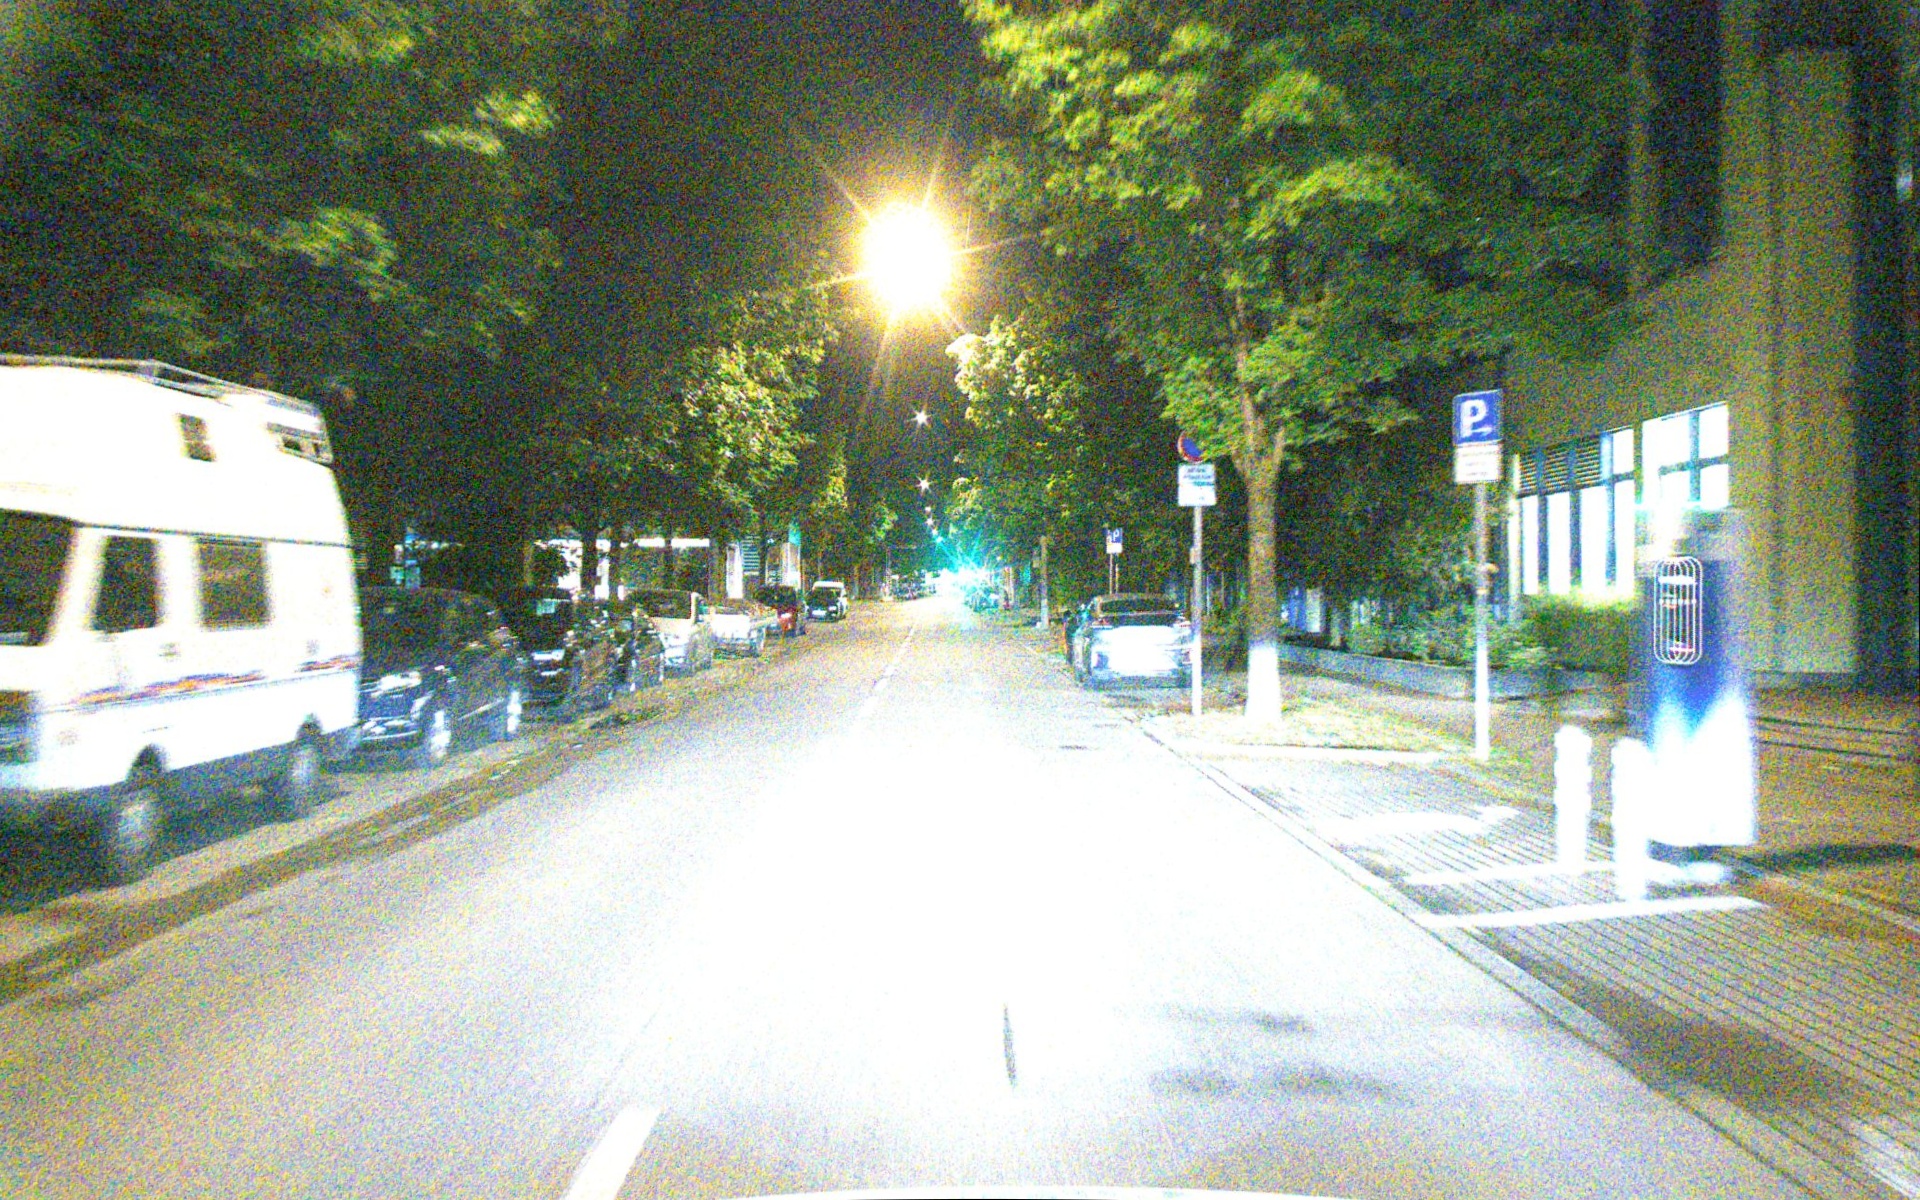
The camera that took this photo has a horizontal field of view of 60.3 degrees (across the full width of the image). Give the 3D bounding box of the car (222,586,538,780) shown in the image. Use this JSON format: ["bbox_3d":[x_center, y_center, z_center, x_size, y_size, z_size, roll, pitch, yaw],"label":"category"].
[{"bbox_3d":[-5.480,0.692,16.201,1.706,1.634,4.115,1,1,-1],"label":"car"}]

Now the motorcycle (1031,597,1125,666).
[{"bbox_3d":[2.337,0.609,33.096,0.914,1.306,2.217,-1,1,-25],"label":"motorcycle"}]

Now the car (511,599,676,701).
[{"bbox_3d":[-5.709,0.728,26.280,1.670,1.436,4.632,0,0,-1],"label":"car"}]

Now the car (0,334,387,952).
[{"bbox_3d":[-5.465,0.164,10.340,2.135,2.960,4.908,1,0,-2],"label":"car"}]

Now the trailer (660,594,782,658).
[{"bbox_3d":[-5.657,0.570,39.896,2.067,1.358,5.435,2,0,0],"label":"trailer"}]

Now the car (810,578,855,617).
[{"bbox_3d":[-6.358,-0.144,82.832,1.785,1.843,4.210,3,1,0],"label":"car"}]

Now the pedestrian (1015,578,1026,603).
[{"bbox_3d":[4.315,-0.679,117.712,0.691,1.752,0.821,-2,0,-1],"label":"pedestrian"}]

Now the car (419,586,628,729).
[{"bbox_3d":[-5.500,0.651,21.365,1.707,1.634,4.296,1,0,-3],"label":"car"}]

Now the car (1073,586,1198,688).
[{"bbox_3d":[2.778,0.541,26.892,1.634,1.454,4.149,-2,1,1],"label":"car"}]

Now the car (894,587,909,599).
[{"bbox_3d":[-7.242,-0.874,205.231,1.705,1.440,3.752,0,0,0],"label":"car"}]

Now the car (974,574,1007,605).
[{"bbox_3d":[1.761,-0.643,97.281,1.815,1.682,4.209,-2,1,0],"label":"car"}]

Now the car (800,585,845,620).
[{"bbox_3d":[-6.298,0.099,76.219,1.665,1.458,3.828,3,1,0],"label":"car"}]

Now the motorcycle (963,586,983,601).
[{"bbox_3d":[1.083,-0.555,138.639,0.625,1.292,2.058,0,0,34],"label":"motorcycle"}]

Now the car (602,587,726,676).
[{"bbox_3d":[-5.642,0.558,31.932,1.682,1.528,4.204,2,1,-2],"label":"car"}]

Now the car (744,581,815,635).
[{"bbox_3d":[-5.913,0.225,54.611,1.785,1.626,4.073,3,1,0],"label":"car"}]
